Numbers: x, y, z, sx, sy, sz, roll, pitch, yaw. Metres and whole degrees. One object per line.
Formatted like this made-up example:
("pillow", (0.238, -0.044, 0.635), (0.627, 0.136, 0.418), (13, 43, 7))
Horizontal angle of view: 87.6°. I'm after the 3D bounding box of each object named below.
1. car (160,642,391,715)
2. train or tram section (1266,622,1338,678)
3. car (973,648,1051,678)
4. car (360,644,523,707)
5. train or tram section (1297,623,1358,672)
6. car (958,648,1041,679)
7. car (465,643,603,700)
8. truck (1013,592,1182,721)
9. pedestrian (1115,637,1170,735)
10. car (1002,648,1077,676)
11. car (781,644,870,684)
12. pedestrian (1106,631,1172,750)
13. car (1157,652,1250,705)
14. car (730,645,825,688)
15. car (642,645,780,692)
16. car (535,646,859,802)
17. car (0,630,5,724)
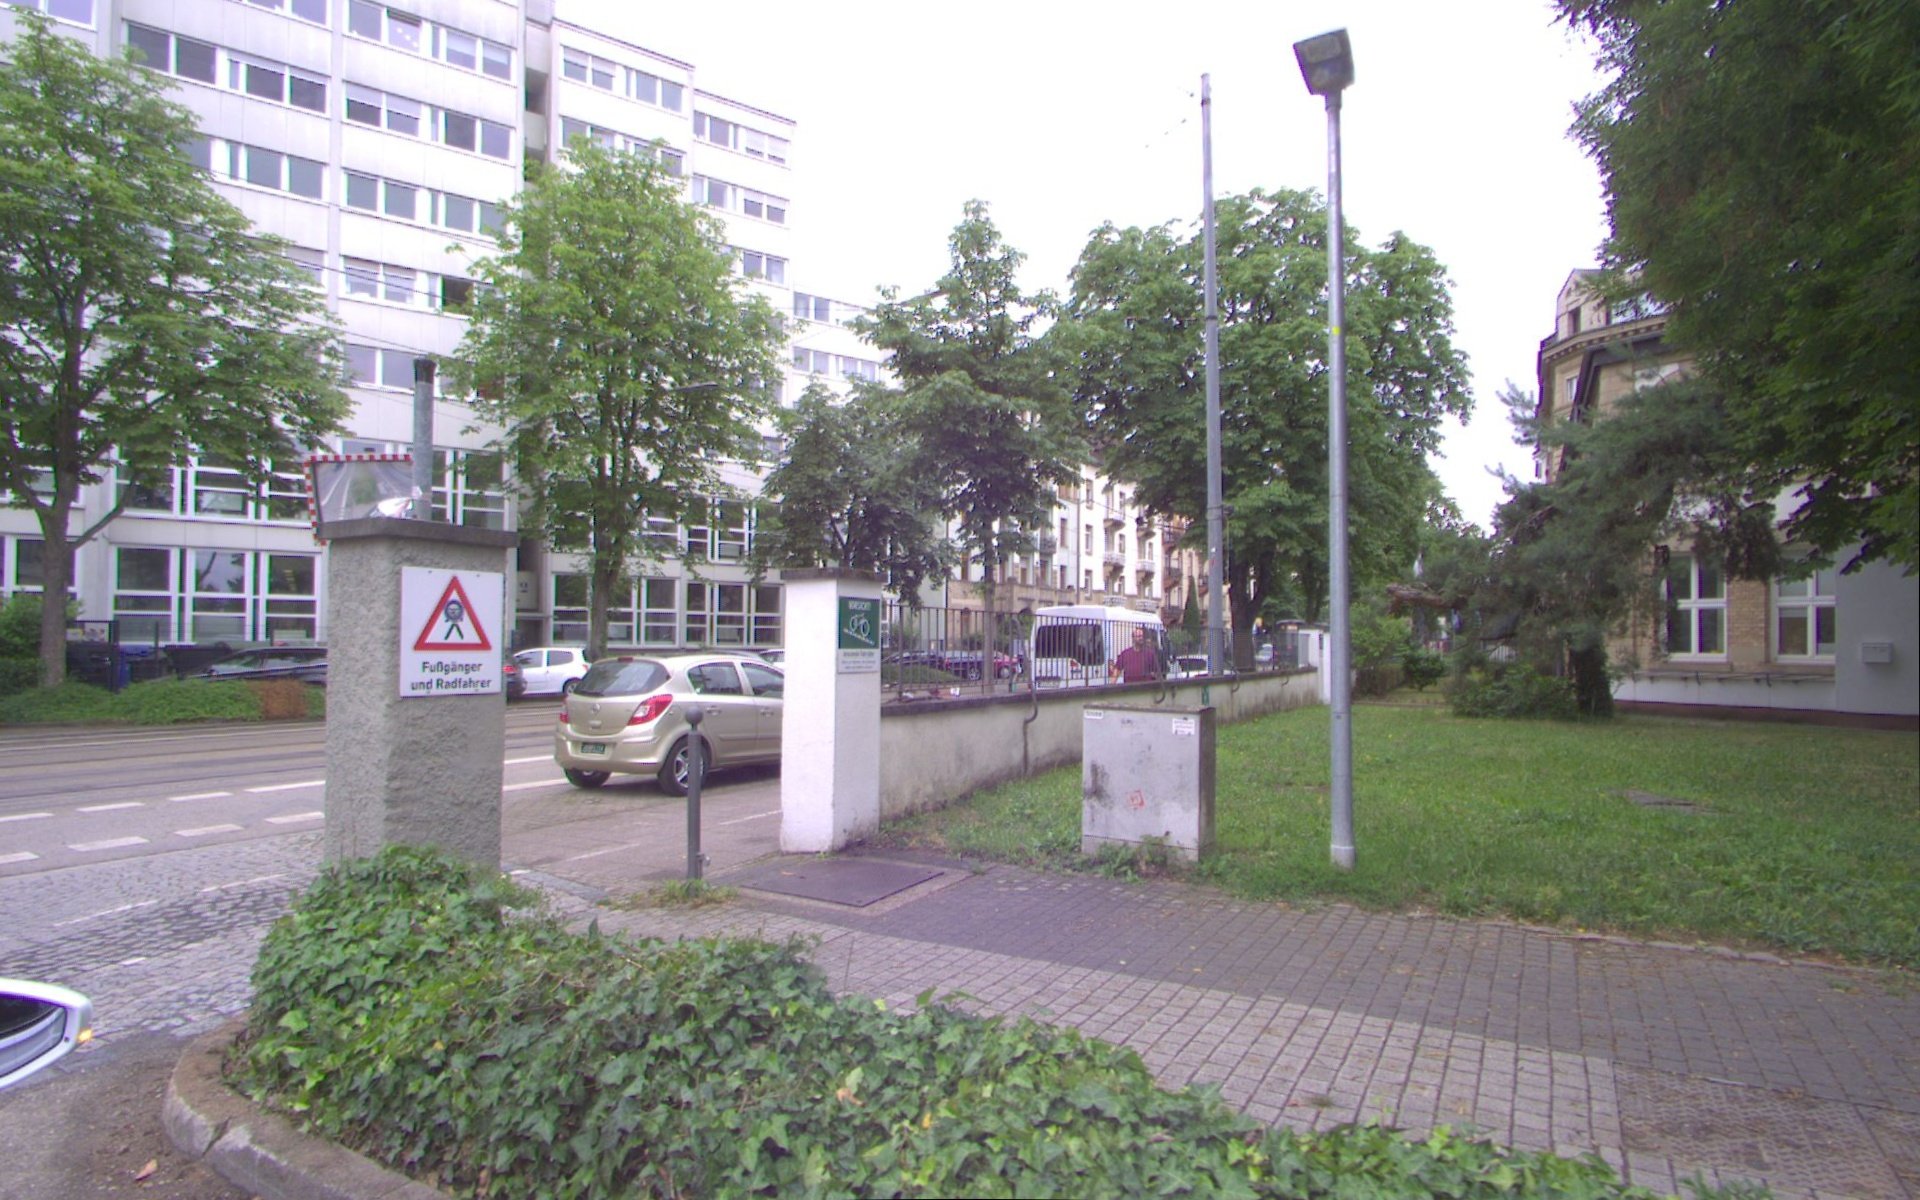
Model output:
("car", (-15.039, 1.688, 22.226), (3.885, 1.492, 1.671), (1, -2, -18))
("train or tram section", (24.940, 3.555, 72.483), (2.628, 3.660, 12.406), (-1, -2, 30))
("car", (2.623, 3.177, 50.856), (3.723, 1.460, 1.692), (1, -2, -9))
("car", (-12.804, 1.843, 24.905), (3.328, 1.492, 1.415), (0, -2, -14))
("train or tram section", (30.101, 3.798, 81.595), (2.628, 3.660, 12.406), (-1, -2, 30))
("car", (1.883, 3.062, 48.251), (3.723, 1.460, 1.692), (1, -2, -9))
("car", (-11.766, 1.962, 27.849), (3.328, 1.492, 1.415), (0, -2, -14))
("truck", (3.264, 1.248, 22.737), (2.137, 2.578, 4.908), (-1, -2, 30))
("pedestrian", (3.392, 1.571, 18.557), (0.789, 1.740, 0.953), (-1, -2, 24))
("car", (4.221, 3.301, 53.406), (3.723, 1.460, 1.692), (1, -2, -9))
("car", (-5.266, 2.487, 39.151), (3.328, 1.492, 1.415), (1, -2, -14))
("pedestrian", (2.763, 1.362, 15.383), (0.795, 1.740, 0.953), (0, -2, 24))
("car", (7.059, 2.203, 28.797), (1.783, 1.371, 3.799), (-1, -2, 27))
("car", (-6.667, 2.412, 36.503), (3.328, 1.492, 1.416), (1, -2, -14))
("car", (-8.375, 2.301, 33.696), (4.420, 1.491, 1.416), (1, -4, -18))
("car", (-2.919, 1.313, 11.808), (1.641, 1.519, 3.579), (-1, -3, 30))
("car", (-18.151, 1.299, 16.363), (3.344, 1.638, 1.556), (0, -2, -12))
